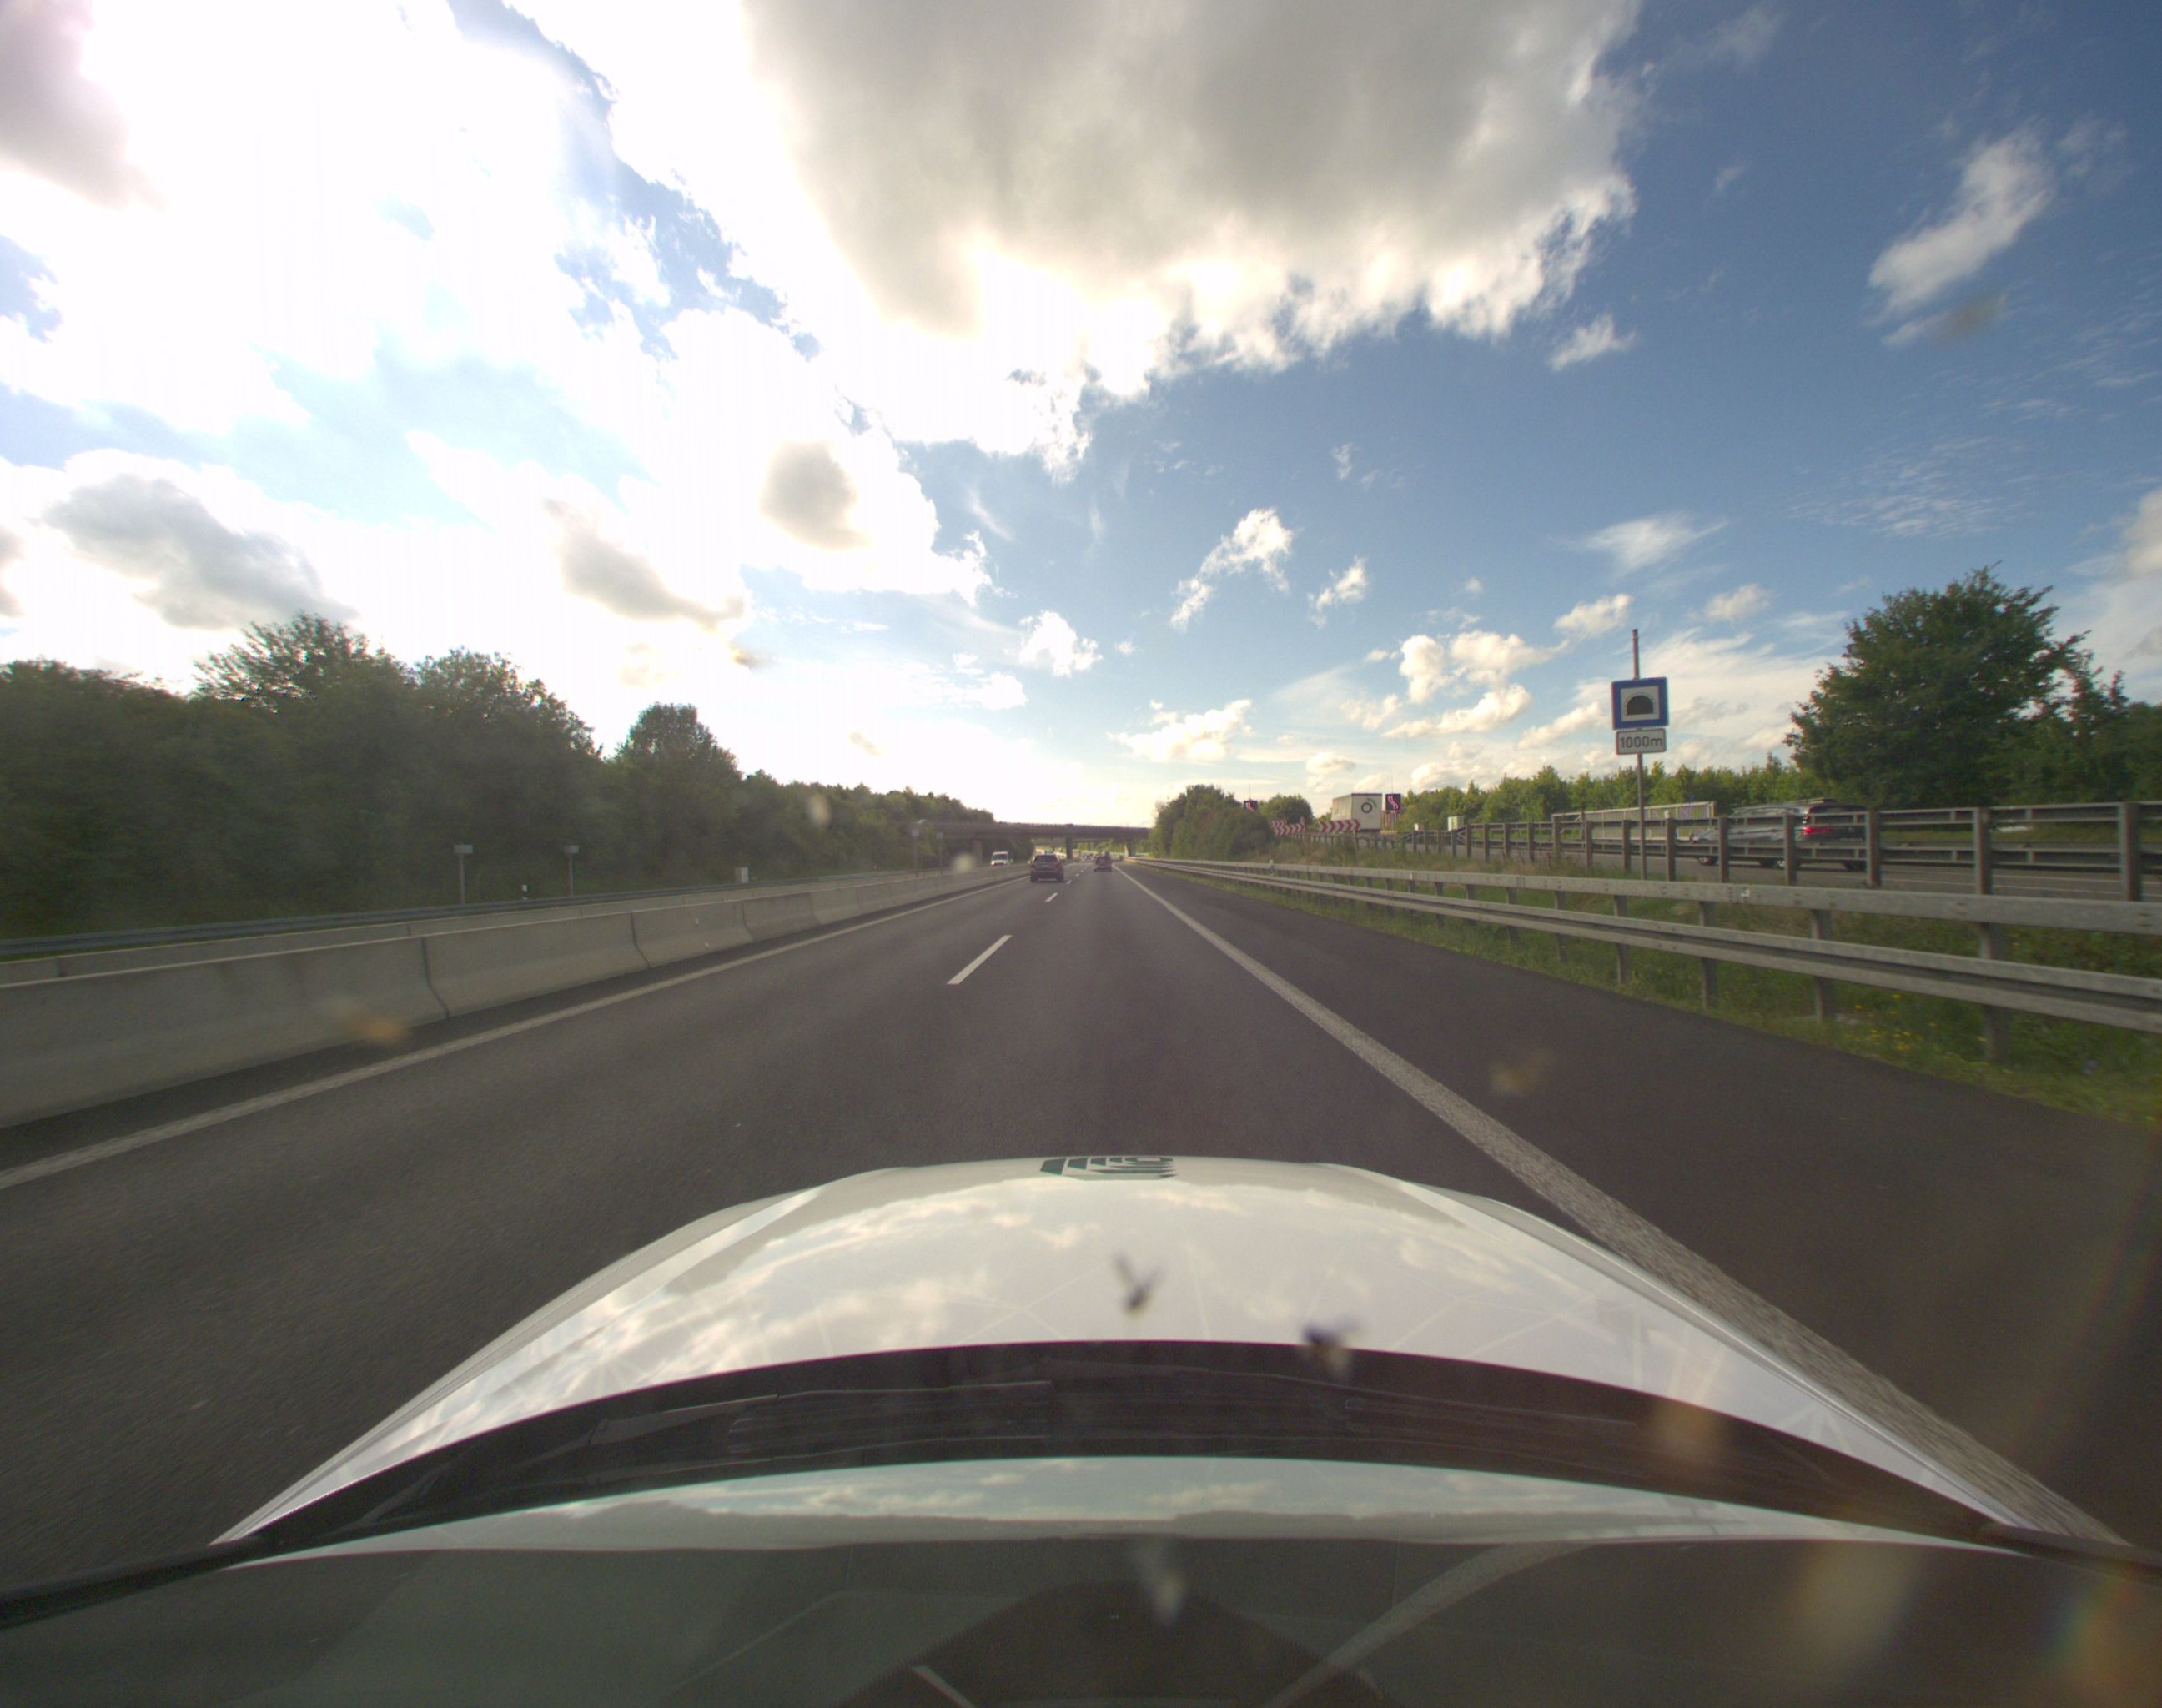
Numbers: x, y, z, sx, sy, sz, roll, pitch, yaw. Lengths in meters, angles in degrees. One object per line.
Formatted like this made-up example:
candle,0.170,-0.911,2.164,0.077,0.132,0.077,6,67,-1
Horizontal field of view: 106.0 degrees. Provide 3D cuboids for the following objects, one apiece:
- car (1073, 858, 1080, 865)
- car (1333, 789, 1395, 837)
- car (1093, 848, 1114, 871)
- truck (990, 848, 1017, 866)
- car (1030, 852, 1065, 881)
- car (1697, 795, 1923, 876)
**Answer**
car,-1.349,2.443,256.800,1.986,2.013,4.001,-3,0,1
car,25.051,-3.536,72.485,3.557,3.676,7.564,-3,0,7
car,2.247,0.540,81.376,1.986,2.081,4.001,-3,0,1
truck,-9.478,0.382,99.947,2.368,2.013,7.438,-3,0,1
car,-1.992,0.721,49.174,1.742,1.630,3.611,-3,0,3
car,17.693,-0.401,20.071,1.986,1.717,4.001,-3,0,1
